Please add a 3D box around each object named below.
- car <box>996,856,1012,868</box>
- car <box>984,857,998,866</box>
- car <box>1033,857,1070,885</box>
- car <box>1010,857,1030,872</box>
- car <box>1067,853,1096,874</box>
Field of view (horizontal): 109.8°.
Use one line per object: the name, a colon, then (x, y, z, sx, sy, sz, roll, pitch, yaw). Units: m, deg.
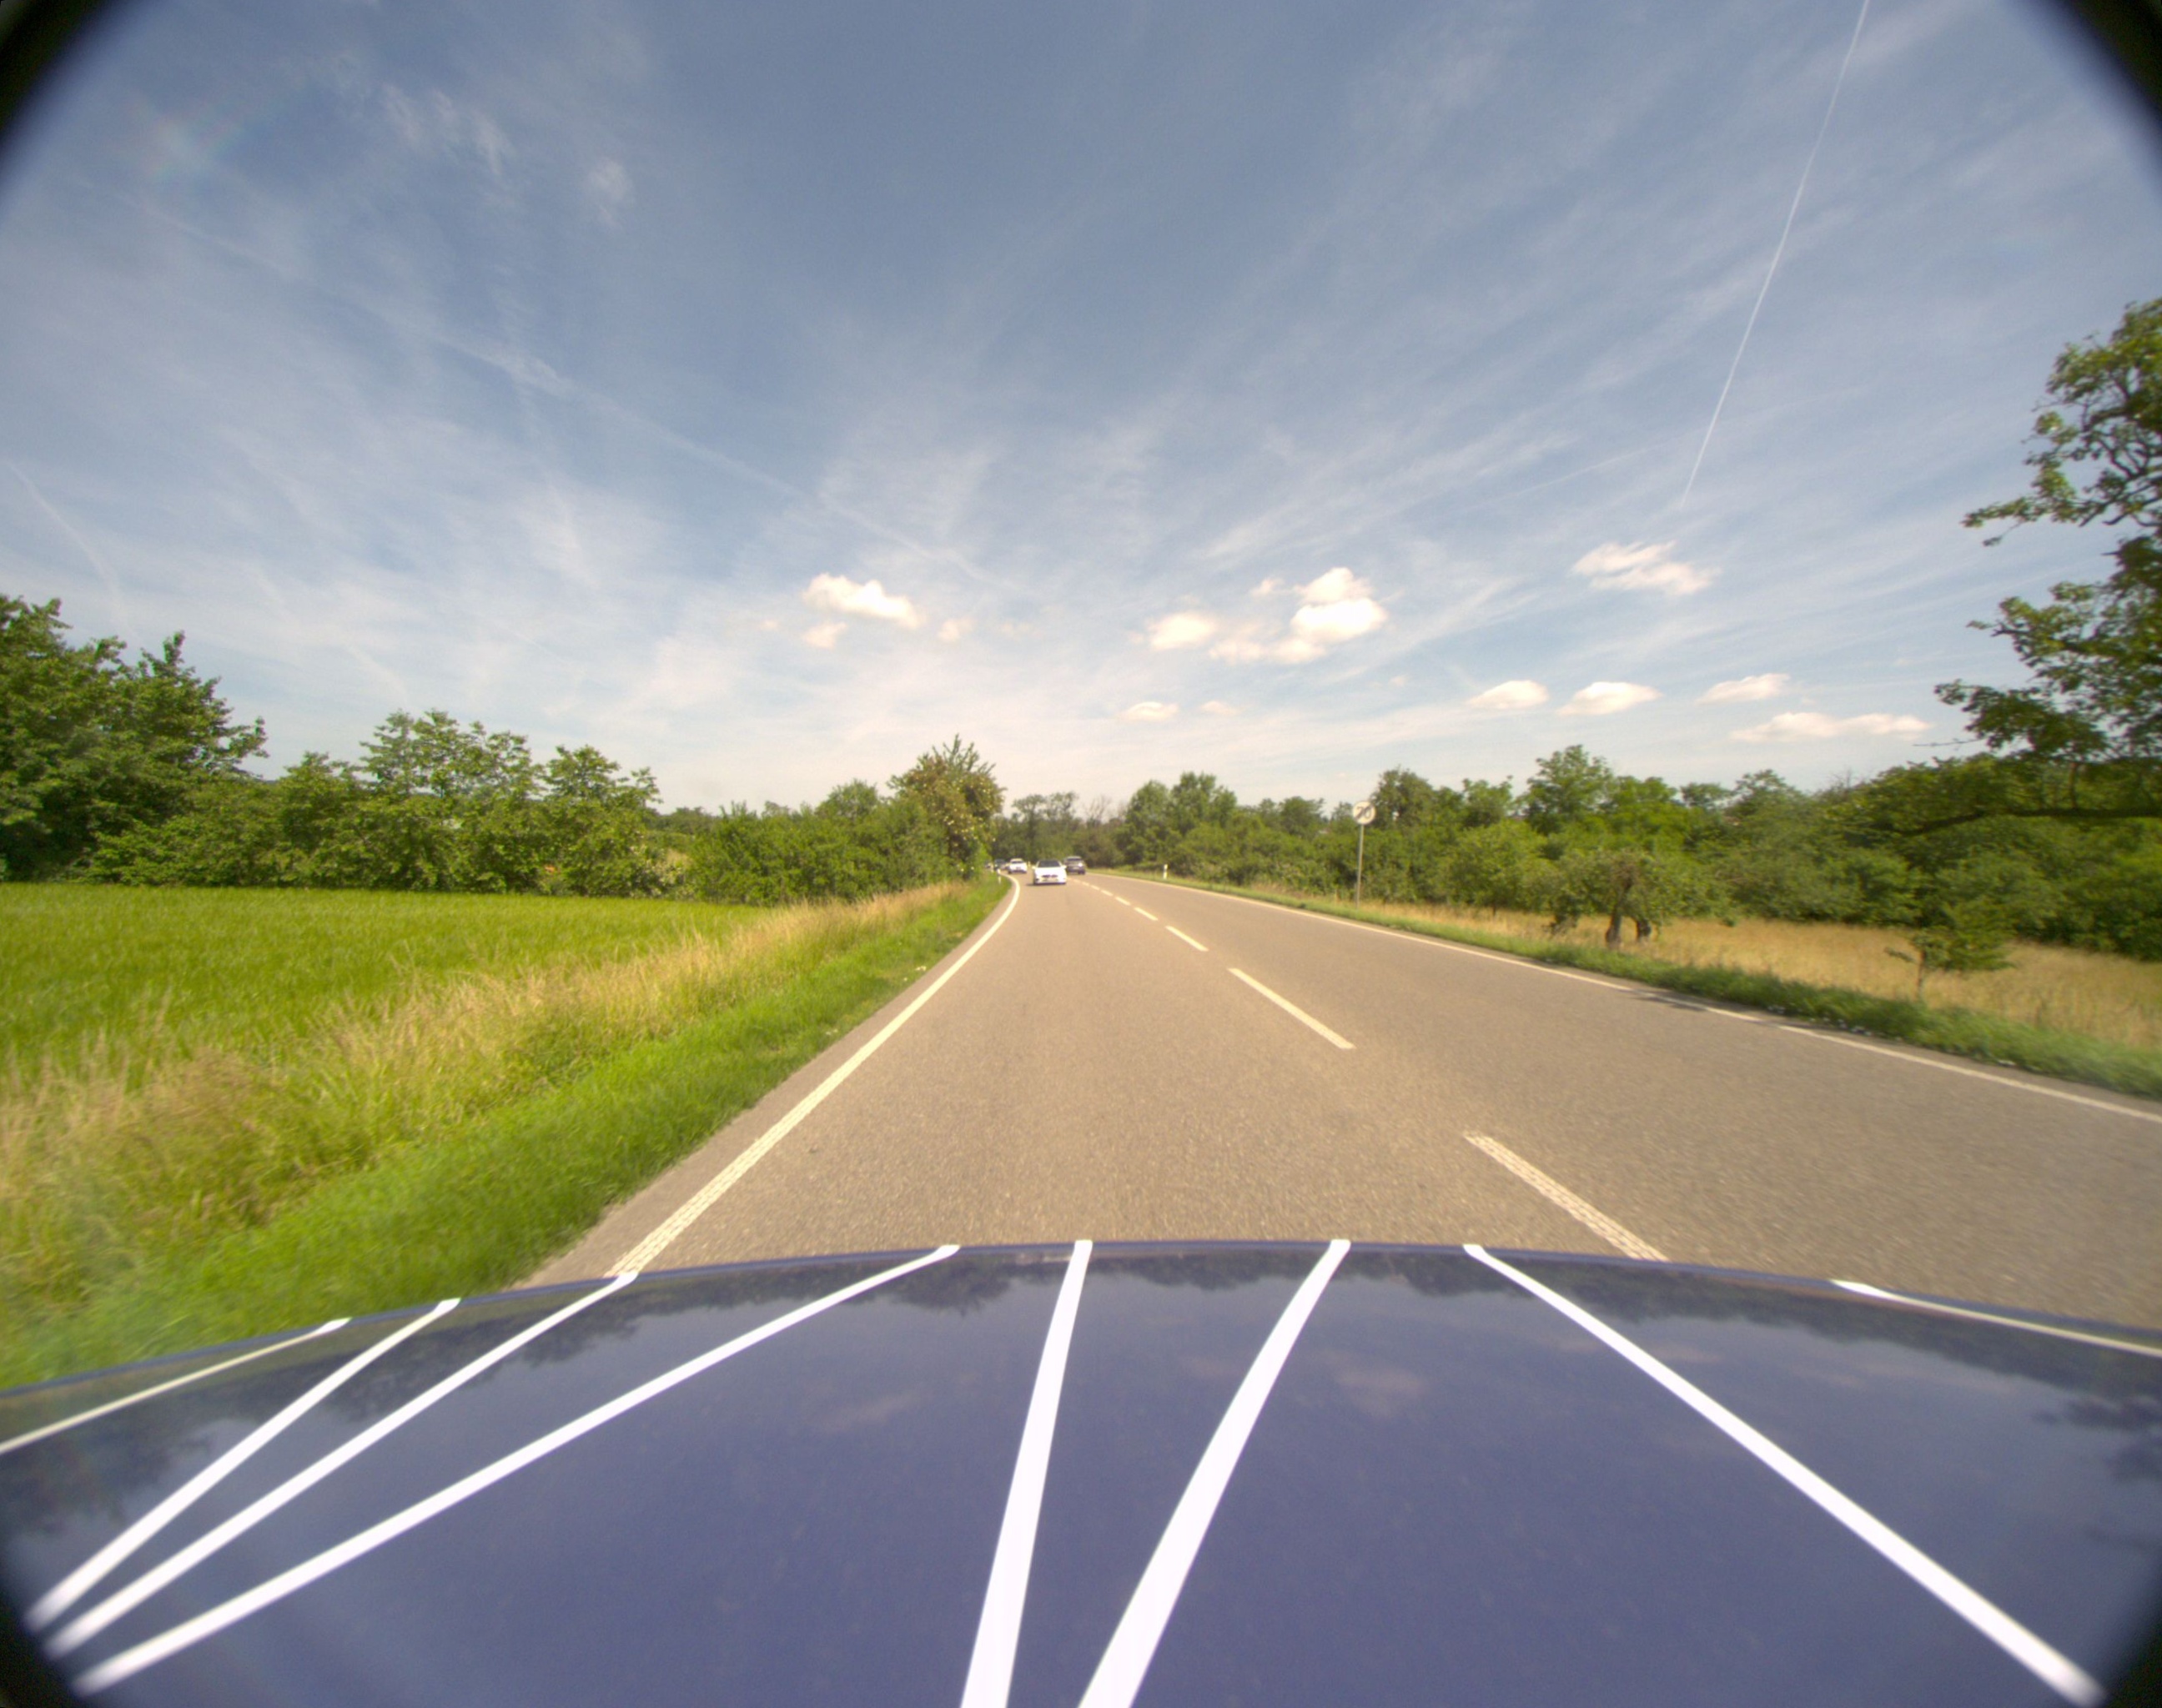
car: (-10.603, 1.043, 104.397, 1.931, 1.442, 4.072, 1, 1, -9)
car: (-14.985, 1.173, 126.182, 1.931, 1.441, 3.996, 1, 0, -12)
car: (-1.763, 0.957, 44.520, 1.930, 1.441, 4.532, -2, 0, -4)
car: (-6.390, 1.035, 79.247, 1.930, 1.441, 3.997, -2, 0, -7)
car: (0.015, 0.789, 63.530, 1.930, 1.616, 3.997, -1, 0, -7)
